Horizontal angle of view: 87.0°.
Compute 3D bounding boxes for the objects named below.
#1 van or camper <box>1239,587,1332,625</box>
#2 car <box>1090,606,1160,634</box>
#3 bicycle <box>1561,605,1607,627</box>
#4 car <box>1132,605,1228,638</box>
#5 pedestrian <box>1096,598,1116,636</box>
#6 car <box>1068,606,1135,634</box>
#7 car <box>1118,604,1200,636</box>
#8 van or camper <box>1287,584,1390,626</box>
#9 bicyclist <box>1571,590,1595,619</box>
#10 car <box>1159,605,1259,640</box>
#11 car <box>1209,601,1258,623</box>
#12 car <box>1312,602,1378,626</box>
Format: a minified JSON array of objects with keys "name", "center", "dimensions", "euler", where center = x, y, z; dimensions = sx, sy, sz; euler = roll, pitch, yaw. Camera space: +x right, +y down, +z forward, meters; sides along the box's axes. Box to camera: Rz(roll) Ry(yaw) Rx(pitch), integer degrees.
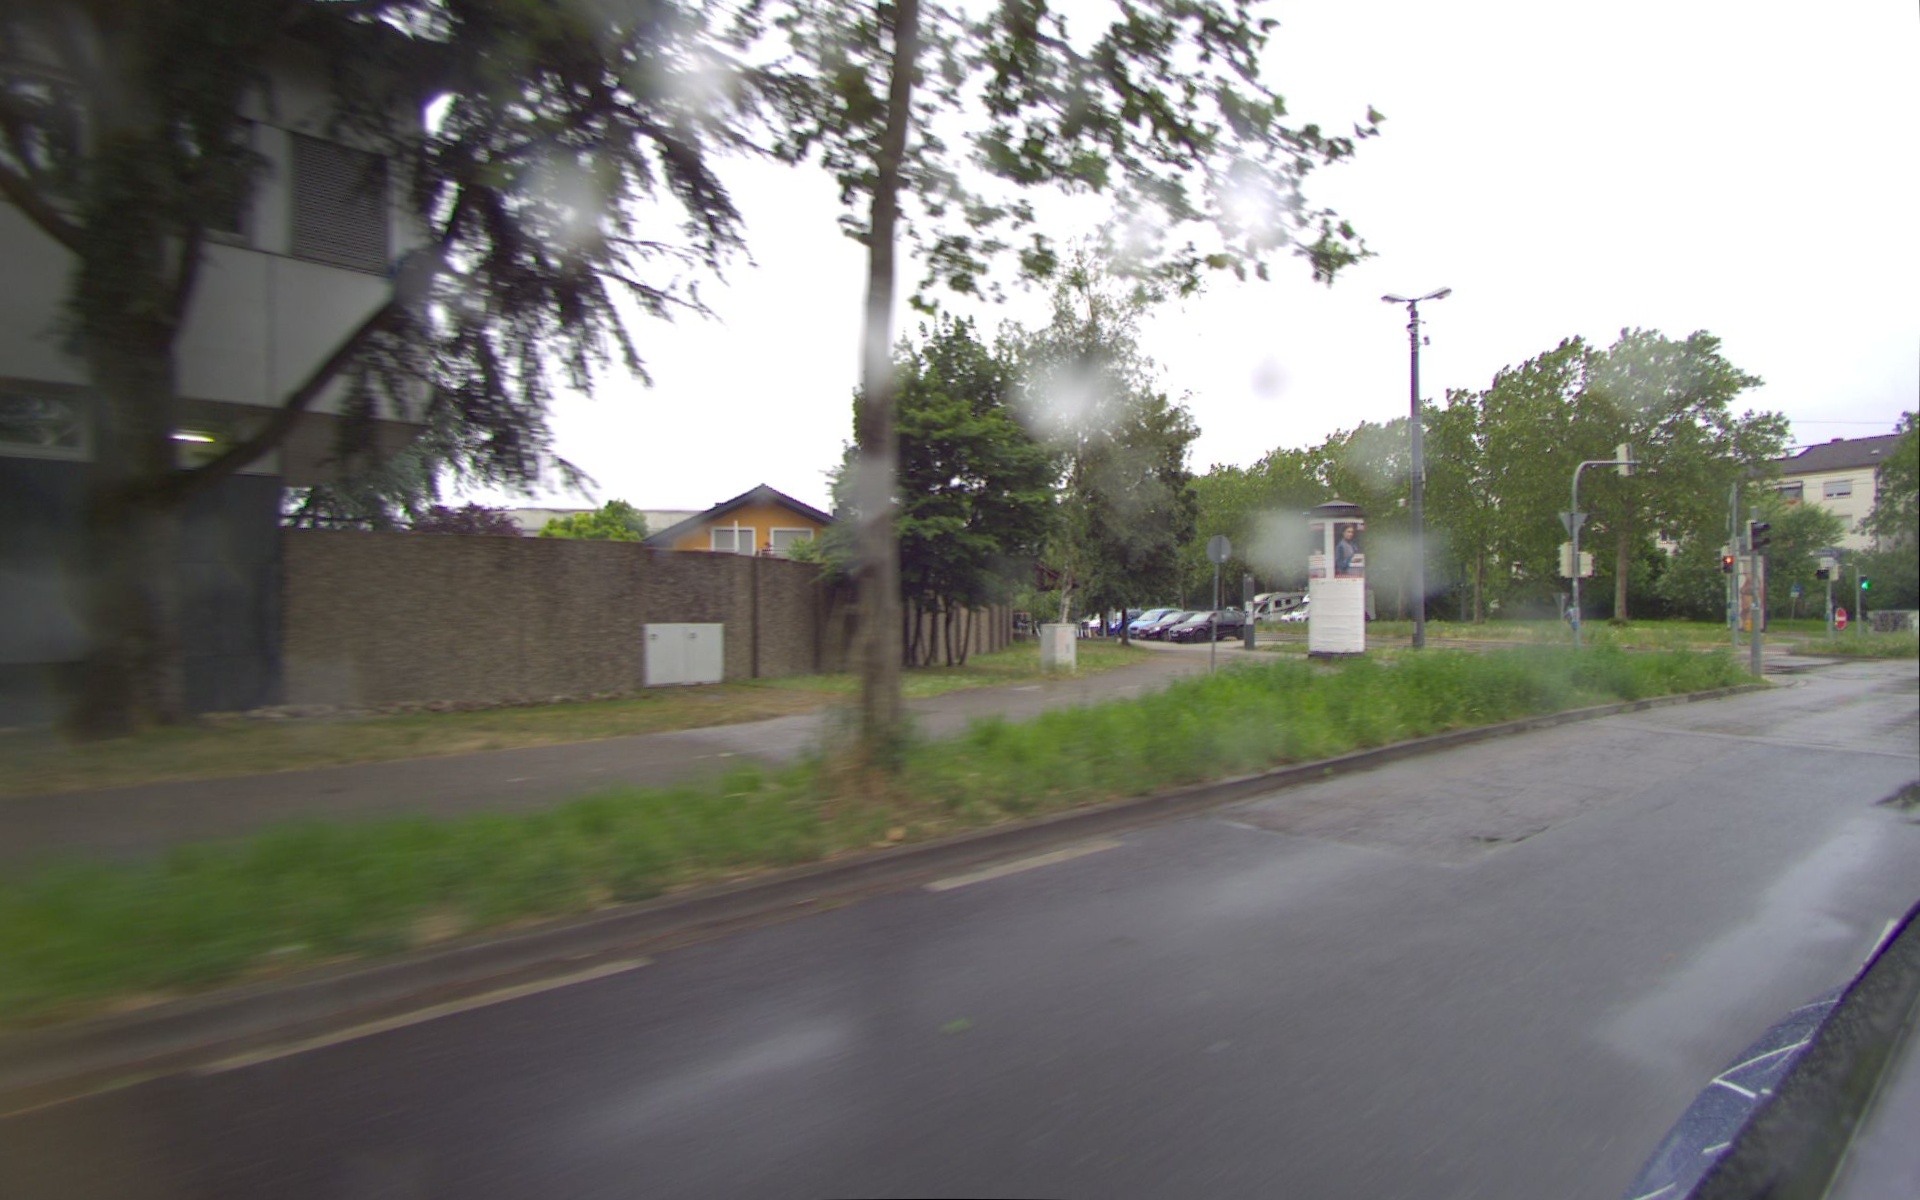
[{"name":"van or camper","center":[29.349,0.580,91.389],"dimensions":[7.300,3.219,3.265],"euler":[1,-1,-6]},{"name":"car","center":[9.629,1.154,58.951],"dimensions":[3.928,1.602,1.927],"euler":[0,-1,-39]},{"name":"bicycle","center":[32.273,0.845,52.360],"dimensions":[0.679,1.131,1.886],"euler":[1,-2,-31]},{"name":"car","center":[10.899,1.042,50.086],"dimensions":[4.420,1.436,1.861],"euler":[-2,0,-27]},{"name":"pedestrian","center":[7.211,0.849,49.973],"dimensions":[0.712,1.820,0.887],"euler":[2,-1,-5]},{"name":"car","center":[8.686,1.180,61.975],"dimensions":[4.051,1.662,1.926],"euler":[0,-1,-42]},{"name":"car","center":[10.509,1.029,53.450],"dimensions":[3.917,1.602,1.861],"euler":[0,-1,-24]},{"name":"van or camper","center":[30.855,0.422,82.579],"dimensions":[7.194,3.219,3.267],"euler":[1,-1,-10]},{"name":"bicyclist","center":[32.252,0.239,52.414],"dimensions":[0.679,1.525,0.844],"euler":[1,-2,-31]},{"name":"car","center":[11.785,1.026,47.818],"dimensions":[4.401,1.436,1.861],"euler":[-2,0,-27]},{"name":"car","center":[26.595,1.209,98.649],"dimensions":[4.105,2.040,2.186],"euler":[1,-1,-3]},{"name":"car","center":[29.926,1.085,78.744],"dimensions":[4.368,1.739,2.002],"euler":[1,-1,-7]}]
